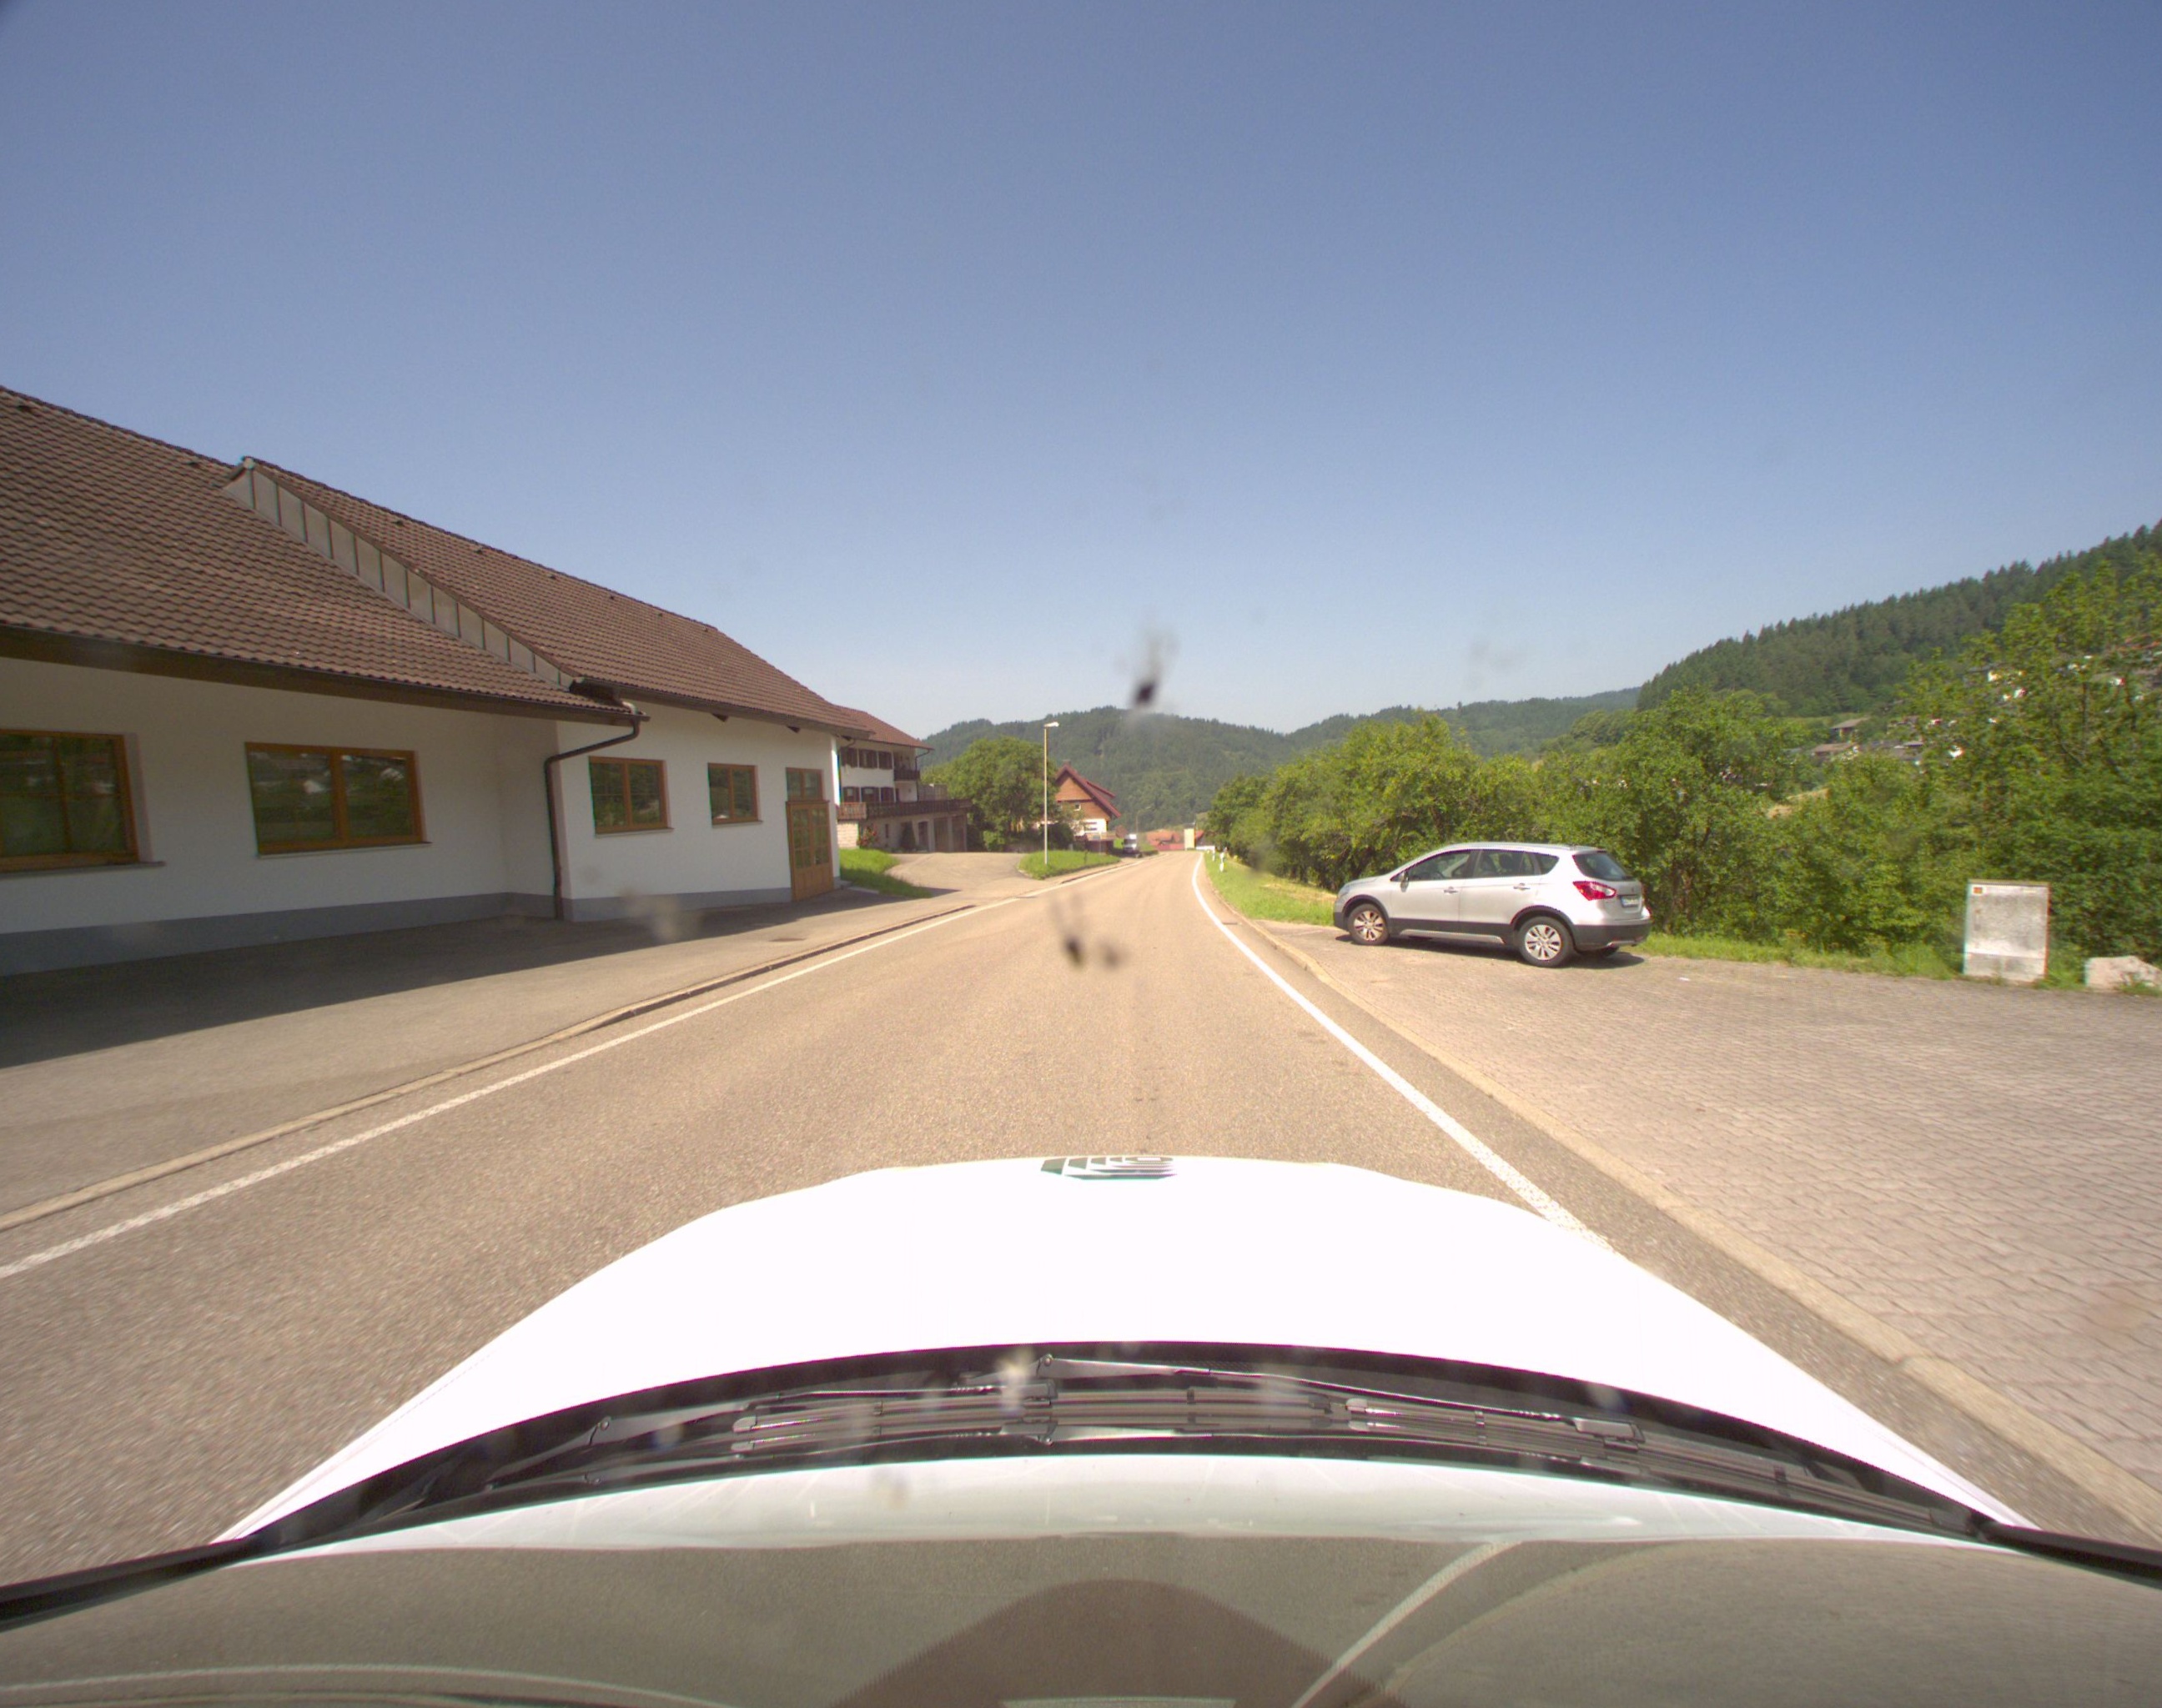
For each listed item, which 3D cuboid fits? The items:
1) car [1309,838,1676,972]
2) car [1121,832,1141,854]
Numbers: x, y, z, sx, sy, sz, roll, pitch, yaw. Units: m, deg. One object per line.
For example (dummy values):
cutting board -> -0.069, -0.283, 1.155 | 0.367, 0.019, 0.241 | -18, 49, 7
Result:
car -> 5.737, 0.562, 11.885 | 1.914, 1.571, 4.413 | -1, 1, -37
car -> 7.001, -1.557, 113.349 | 2.056, 2.688, 7.192 | -2, 3, 8
